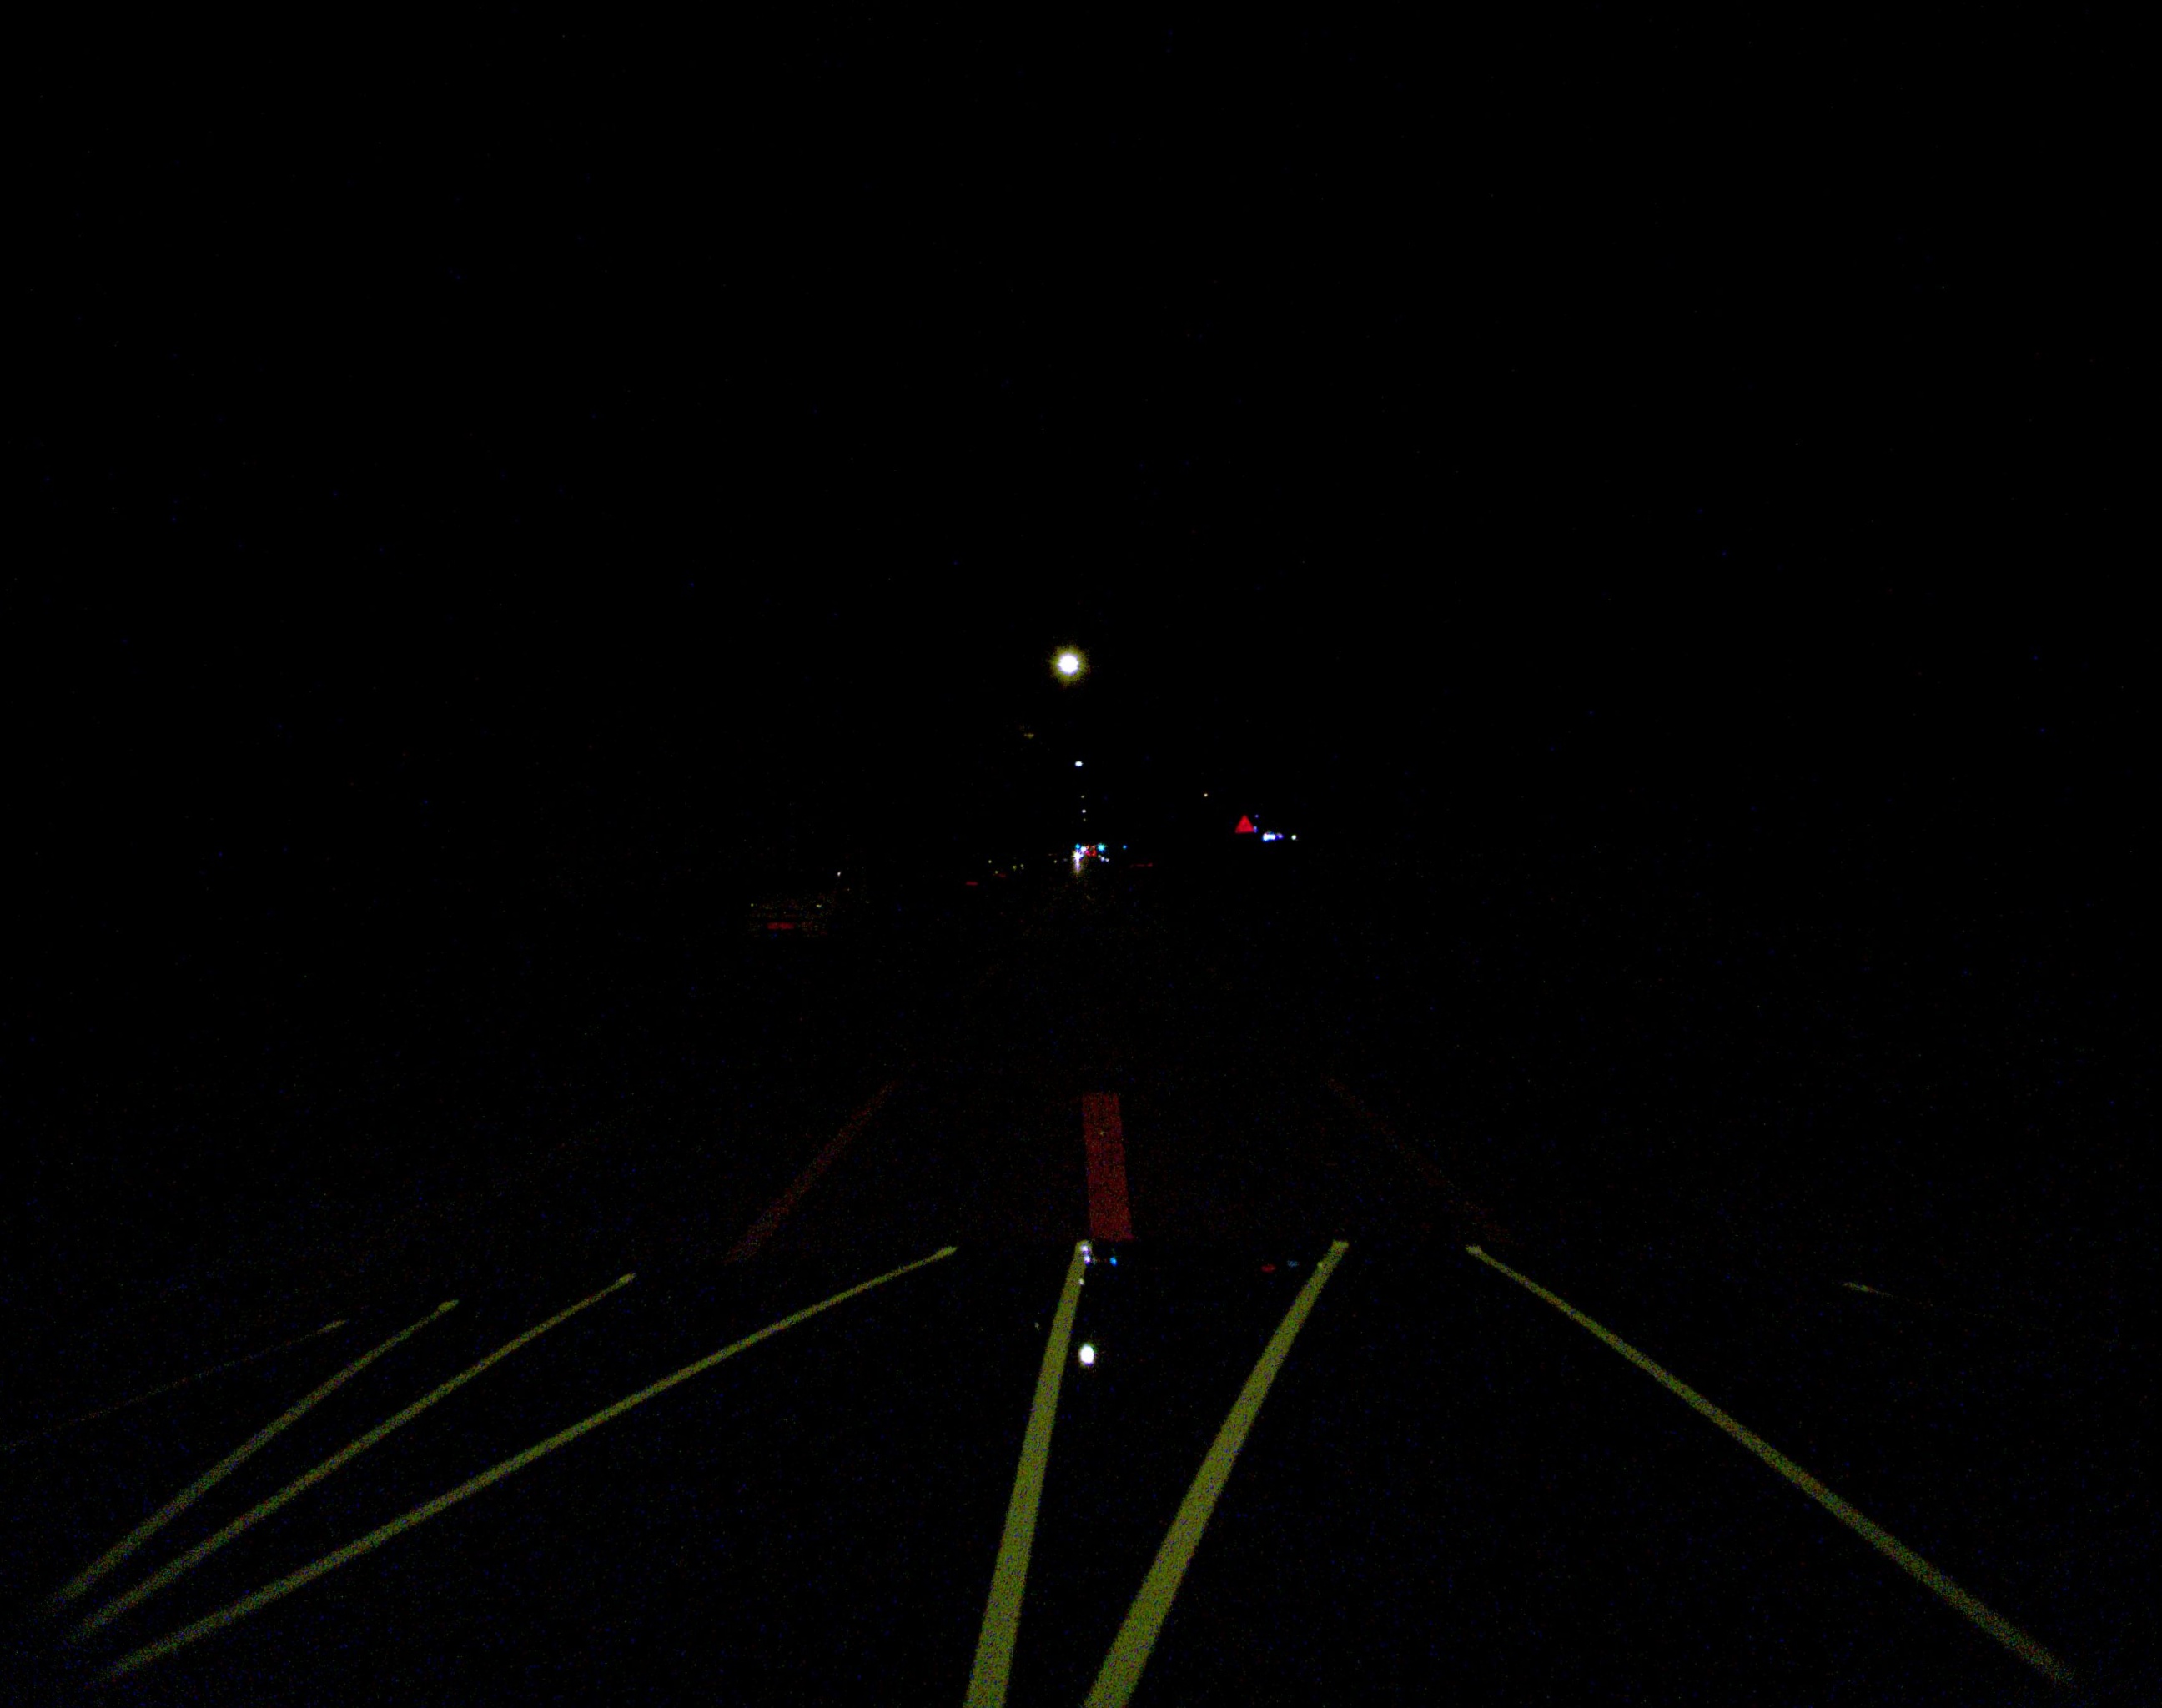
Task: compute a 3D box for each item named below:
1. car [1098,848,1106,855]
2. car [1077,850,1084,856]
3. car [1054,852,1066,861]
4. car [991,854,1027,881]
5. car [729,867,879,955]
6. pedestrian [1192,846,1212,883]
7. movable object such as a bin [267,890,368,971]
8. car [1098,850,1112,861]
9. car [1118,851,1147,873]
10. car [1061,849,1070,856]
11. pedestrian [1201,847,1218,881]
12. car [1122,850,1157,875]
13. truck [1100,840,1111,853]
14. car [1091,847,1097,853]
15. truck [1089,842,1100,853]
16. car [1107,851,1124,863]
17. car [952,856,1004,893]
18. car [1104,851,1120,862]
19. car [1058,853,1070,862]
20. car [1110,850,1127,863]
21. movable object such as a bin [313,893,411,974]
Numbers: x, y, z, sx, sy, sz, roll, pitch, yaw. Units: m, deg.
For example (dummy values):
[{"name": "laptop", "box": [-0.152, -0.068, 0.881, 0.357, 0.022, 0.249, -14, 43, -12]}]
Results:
[{"name": "car", "box": [5.000, -0.673, 180.236, 1.873, 1.551, 4.353, -2, 0, 1]}, {"name": "car", "box": [-0.128, -0.261, 207.502, 1.874, 1.635, 3.999, -2, 0, 0]}, {"name": "car", "box": [-3.578, 0.454, 128.262, 1.874, 1.407, 3.999, -2, 0, 0]}, {"name": "car", "box": [-4.456, 0.791, 47.731, 1.742, 1.588, 4.359, 0, 0, 1]}, {"name": "car", "box": [-5.340, 1.034, 15.123, 1.672, 1.476, 3.603, 0, 0, 0]}, {"name": "pedestrian", "box": [5.667, 0.472, 35.609, 0.744, 1.662, 1.103, -2, 1, 0]}, {"name": "movable object such as a bin", "box": [-10.812, 1.065, 10.783, 0.609, 1.042, 0.755, -2, 1, 1]}, {"name": "car", "box": [3.726, 0.263, 119.417, 1.874, 1.635, 3.999, -2, 0, -3]}, {"name": "car", "box": [3.889, 0.587, 57.766, 1.864, 1.458, 3.896, -4, 0, -1]}, {"name": "car", "box": [-3.325, -0.396, 163.808, 1.874, 1.407, 3.999, -2, 0, 0]}, {"name": "pedestrian", "box": [6.724, 0.519, 39.789, 0.670, 1.716, 0.866, -2, 1, -2]}, {"name": "car", "box": [3.966, 0.541, 52.251, 1.864, 1.524, 4.587, -4, 0, -1]}, {"name": "truck", "box": [4.966, -1.550, 155.431, 2.084, 2.562, 6.873, -2, 0, 1]}, {"name": "car", "box": [3.801, -1.267, 220.671, 1.873, 1.635, 4.000, -2, 0, 1]}, {"name": "truck", "box": [4.341, -2.118, 244.340, 3.222, 3.360, 8.850, -2, 0, 1]}, {"name": "car", "box": [4.722, 0.405, 105.047, 1.874, 1.635, 3.999, -2, 0, -3]}, {"name": "car", "box": [-4.572, 0.884, 34.210, 1.865, 1.544, 4.044, 0, 0, -1]}, {"name": "car", "box": [4.440, 0.349, 109.985, 1.874, 1.635, 3.999, -2, 0, -3]}, {"name": "car", "box": [-2.984, 0.630, 134.722, 1.874, 1.407, 3.999, -2, 0, 0]}, {"name": "car", "box": [4.964, 0.376, 100.791, 1.874, 1.635, 3.999, -2, 0, -3]}, {"name": "movable object such as a bin", "box": [-10.156, 1.100, 10.752, 0.609, 1.042, 0.755, -2, 1, 1]}]
